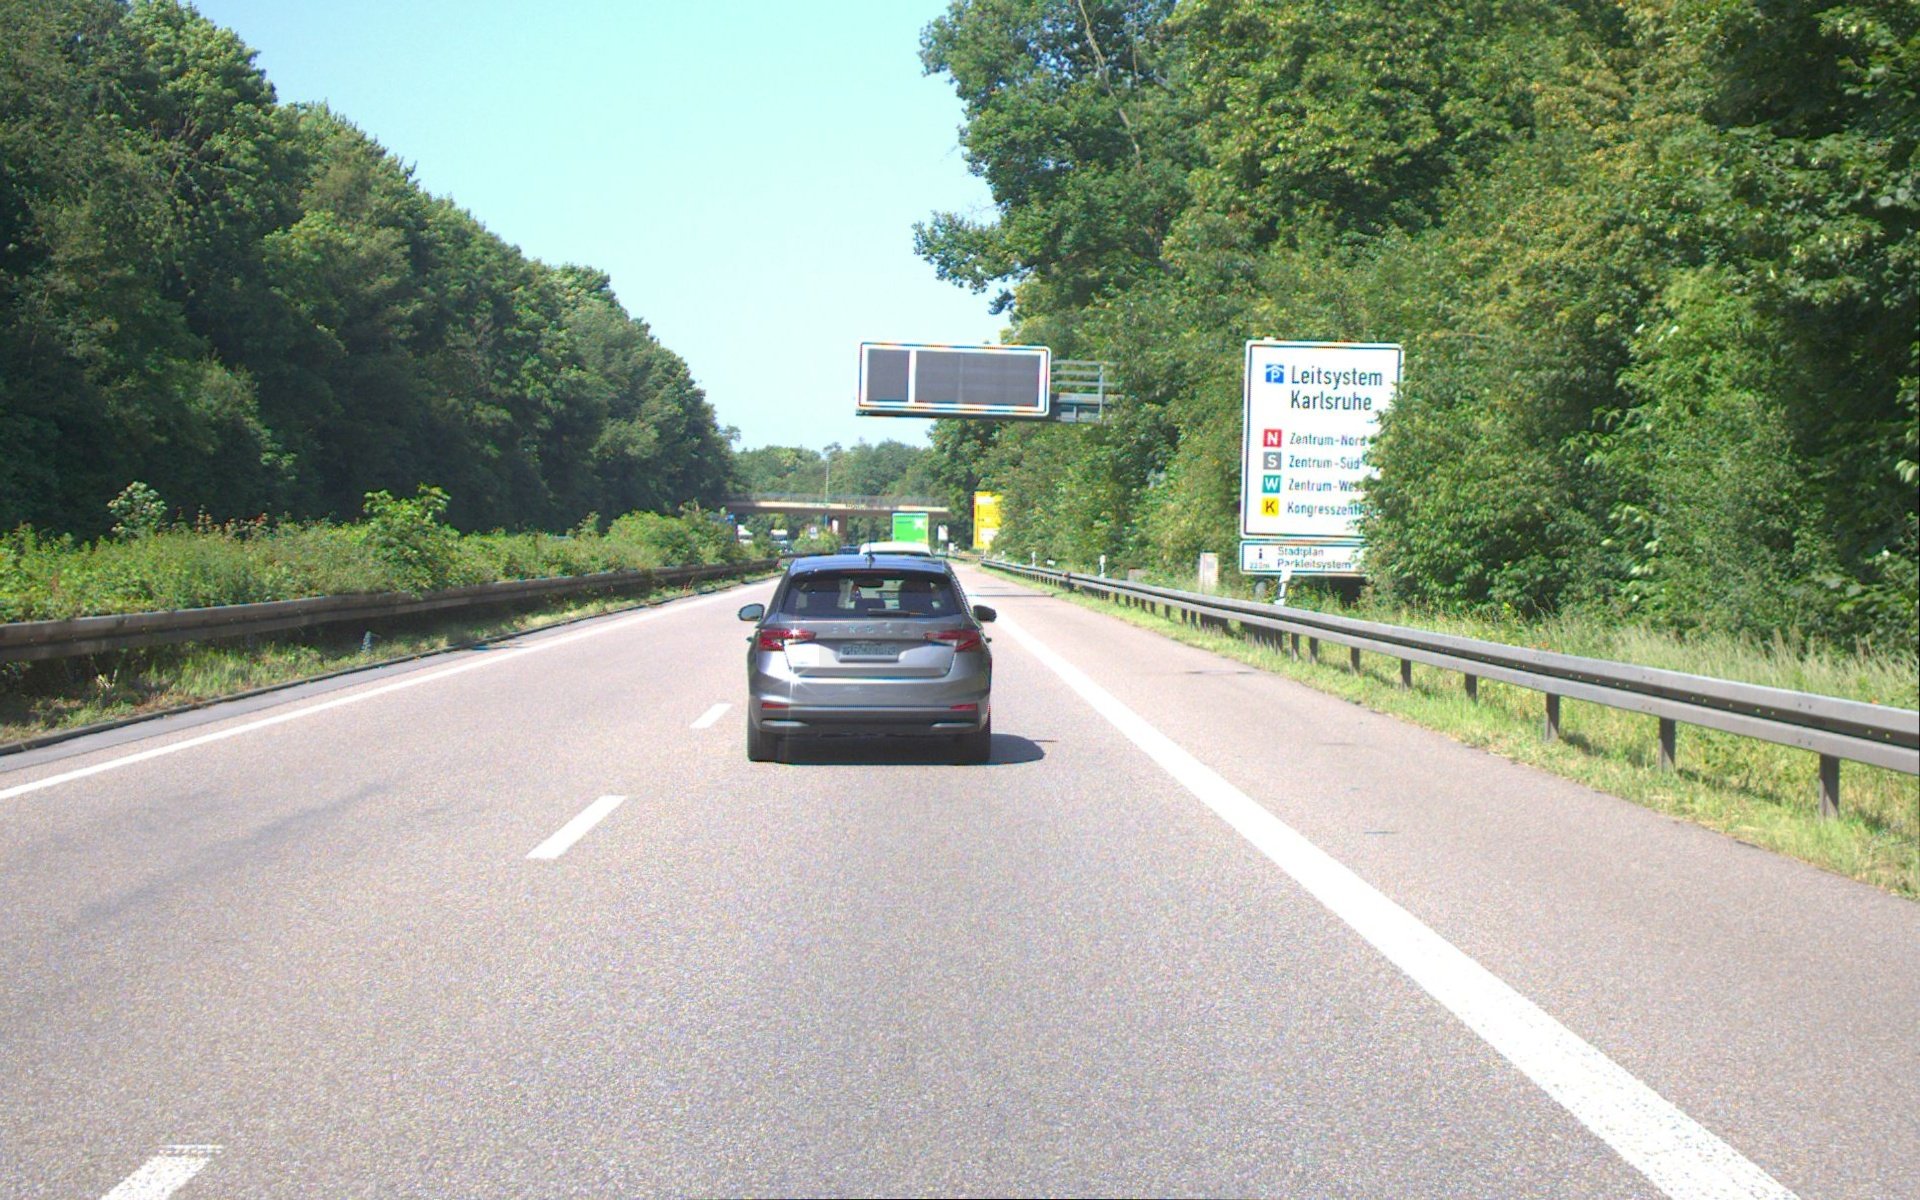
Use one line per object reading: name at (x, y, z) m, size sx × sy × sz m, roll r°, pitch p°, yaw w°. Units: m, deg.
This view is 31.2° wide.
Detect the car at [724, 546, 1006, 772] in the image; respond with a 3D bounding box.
car at (-0.609, 0.364, 24.725) m, size 1.840 × 1.467 × 3.623 m, roll 1°, pitch 1°, yaw 1°

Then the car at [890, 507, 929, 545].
car at (-3.629, -5.338, 248.723) m, size 2.748 × 2.645 × 4.000 m, roll 1°, pitch 1°, yaw 0°

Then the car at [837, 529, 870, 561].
car at (-6.858, -3.533, 221.121) m, size 1.993 × 2.007 × 4.000 m, roll 1°, pitch 1°, yaw 0°

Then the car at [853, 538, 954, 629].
car at (-0.907, -0.291, 56.688) m, size 1.522 × 1.442 × 3.340 m, roll 1°, pitch 1°, yaw 1°
